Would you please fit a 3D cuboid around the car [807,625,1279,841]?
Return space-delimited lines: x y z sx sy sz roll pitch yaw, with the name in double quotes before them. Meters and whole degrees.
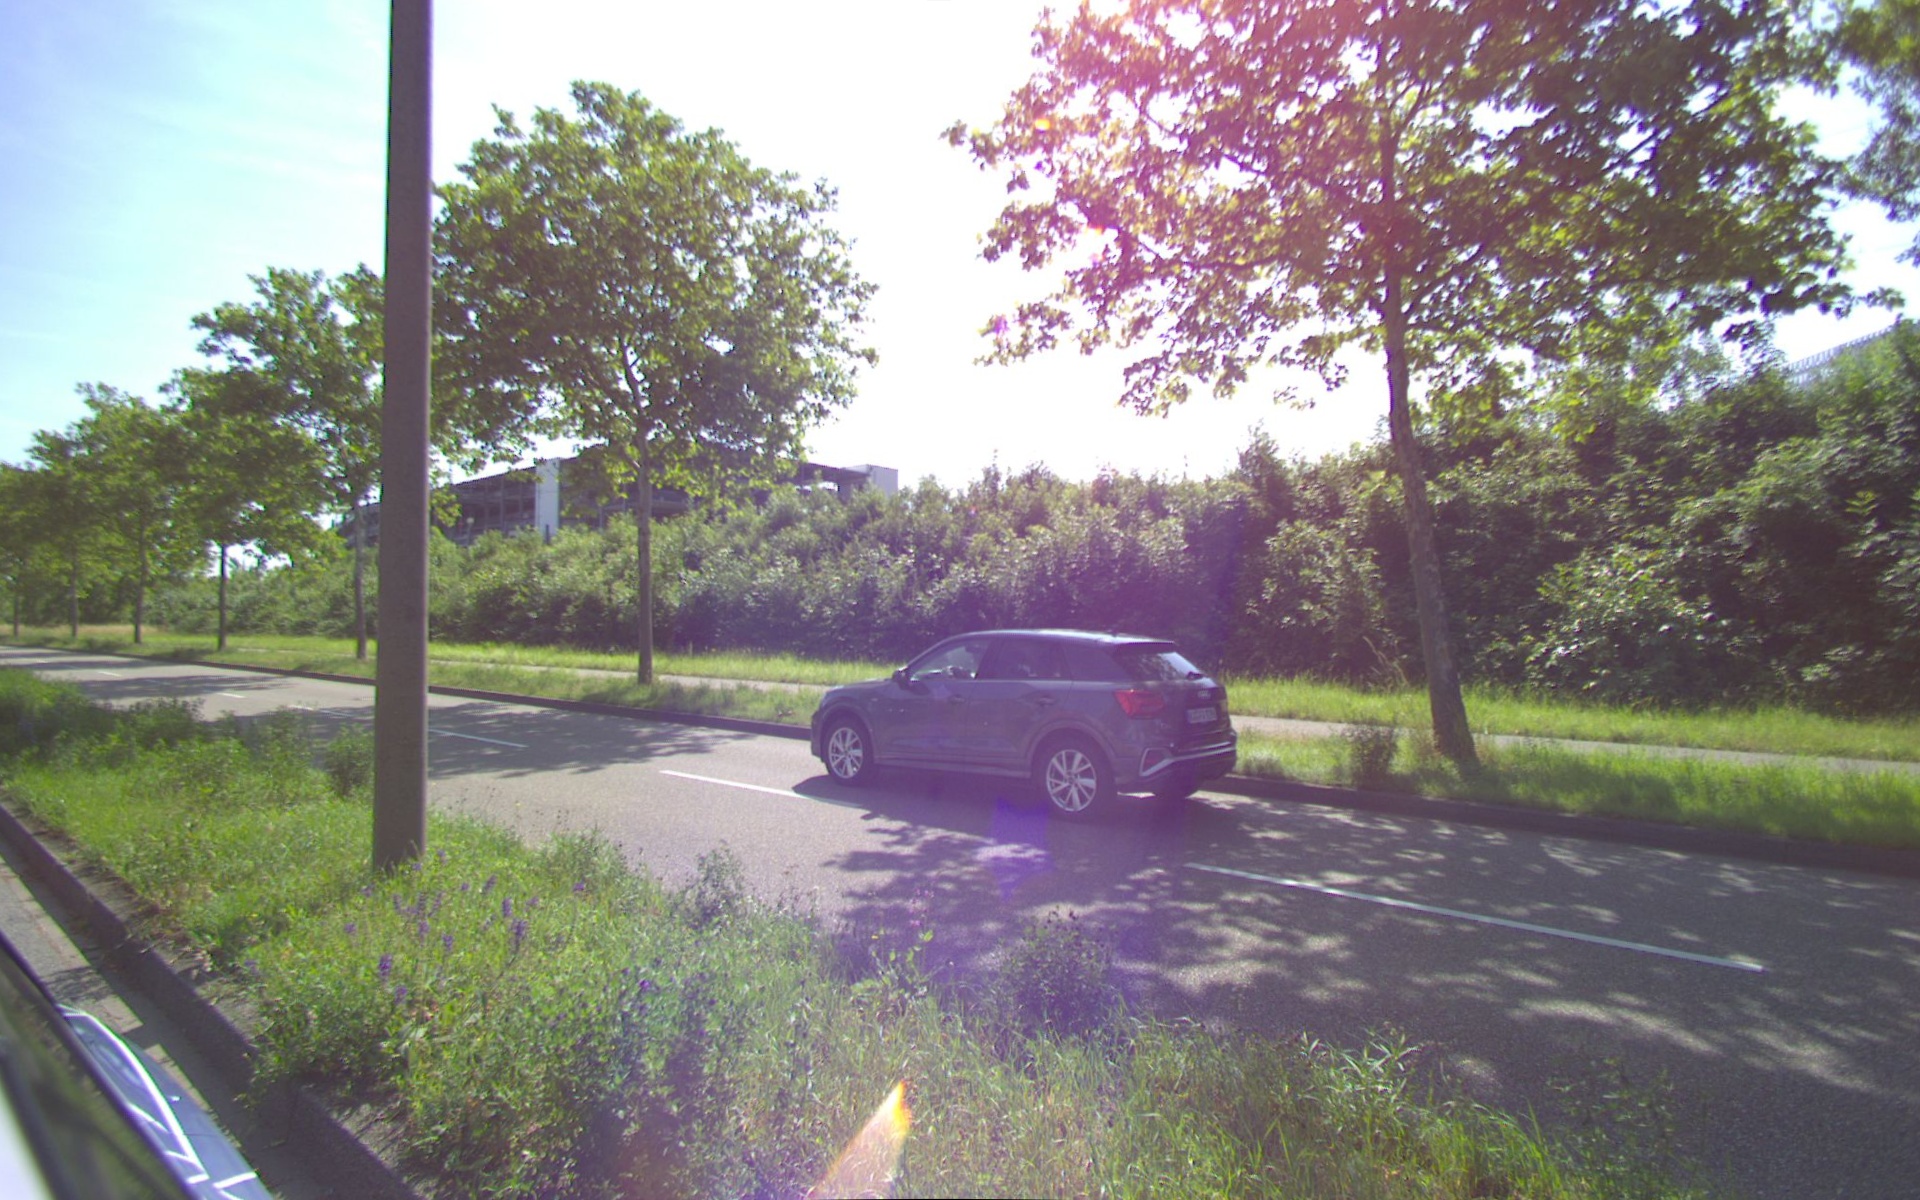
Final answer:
"car" 0.622 0.984 9.140 3.935 1.478 1.844 0 -1 40
